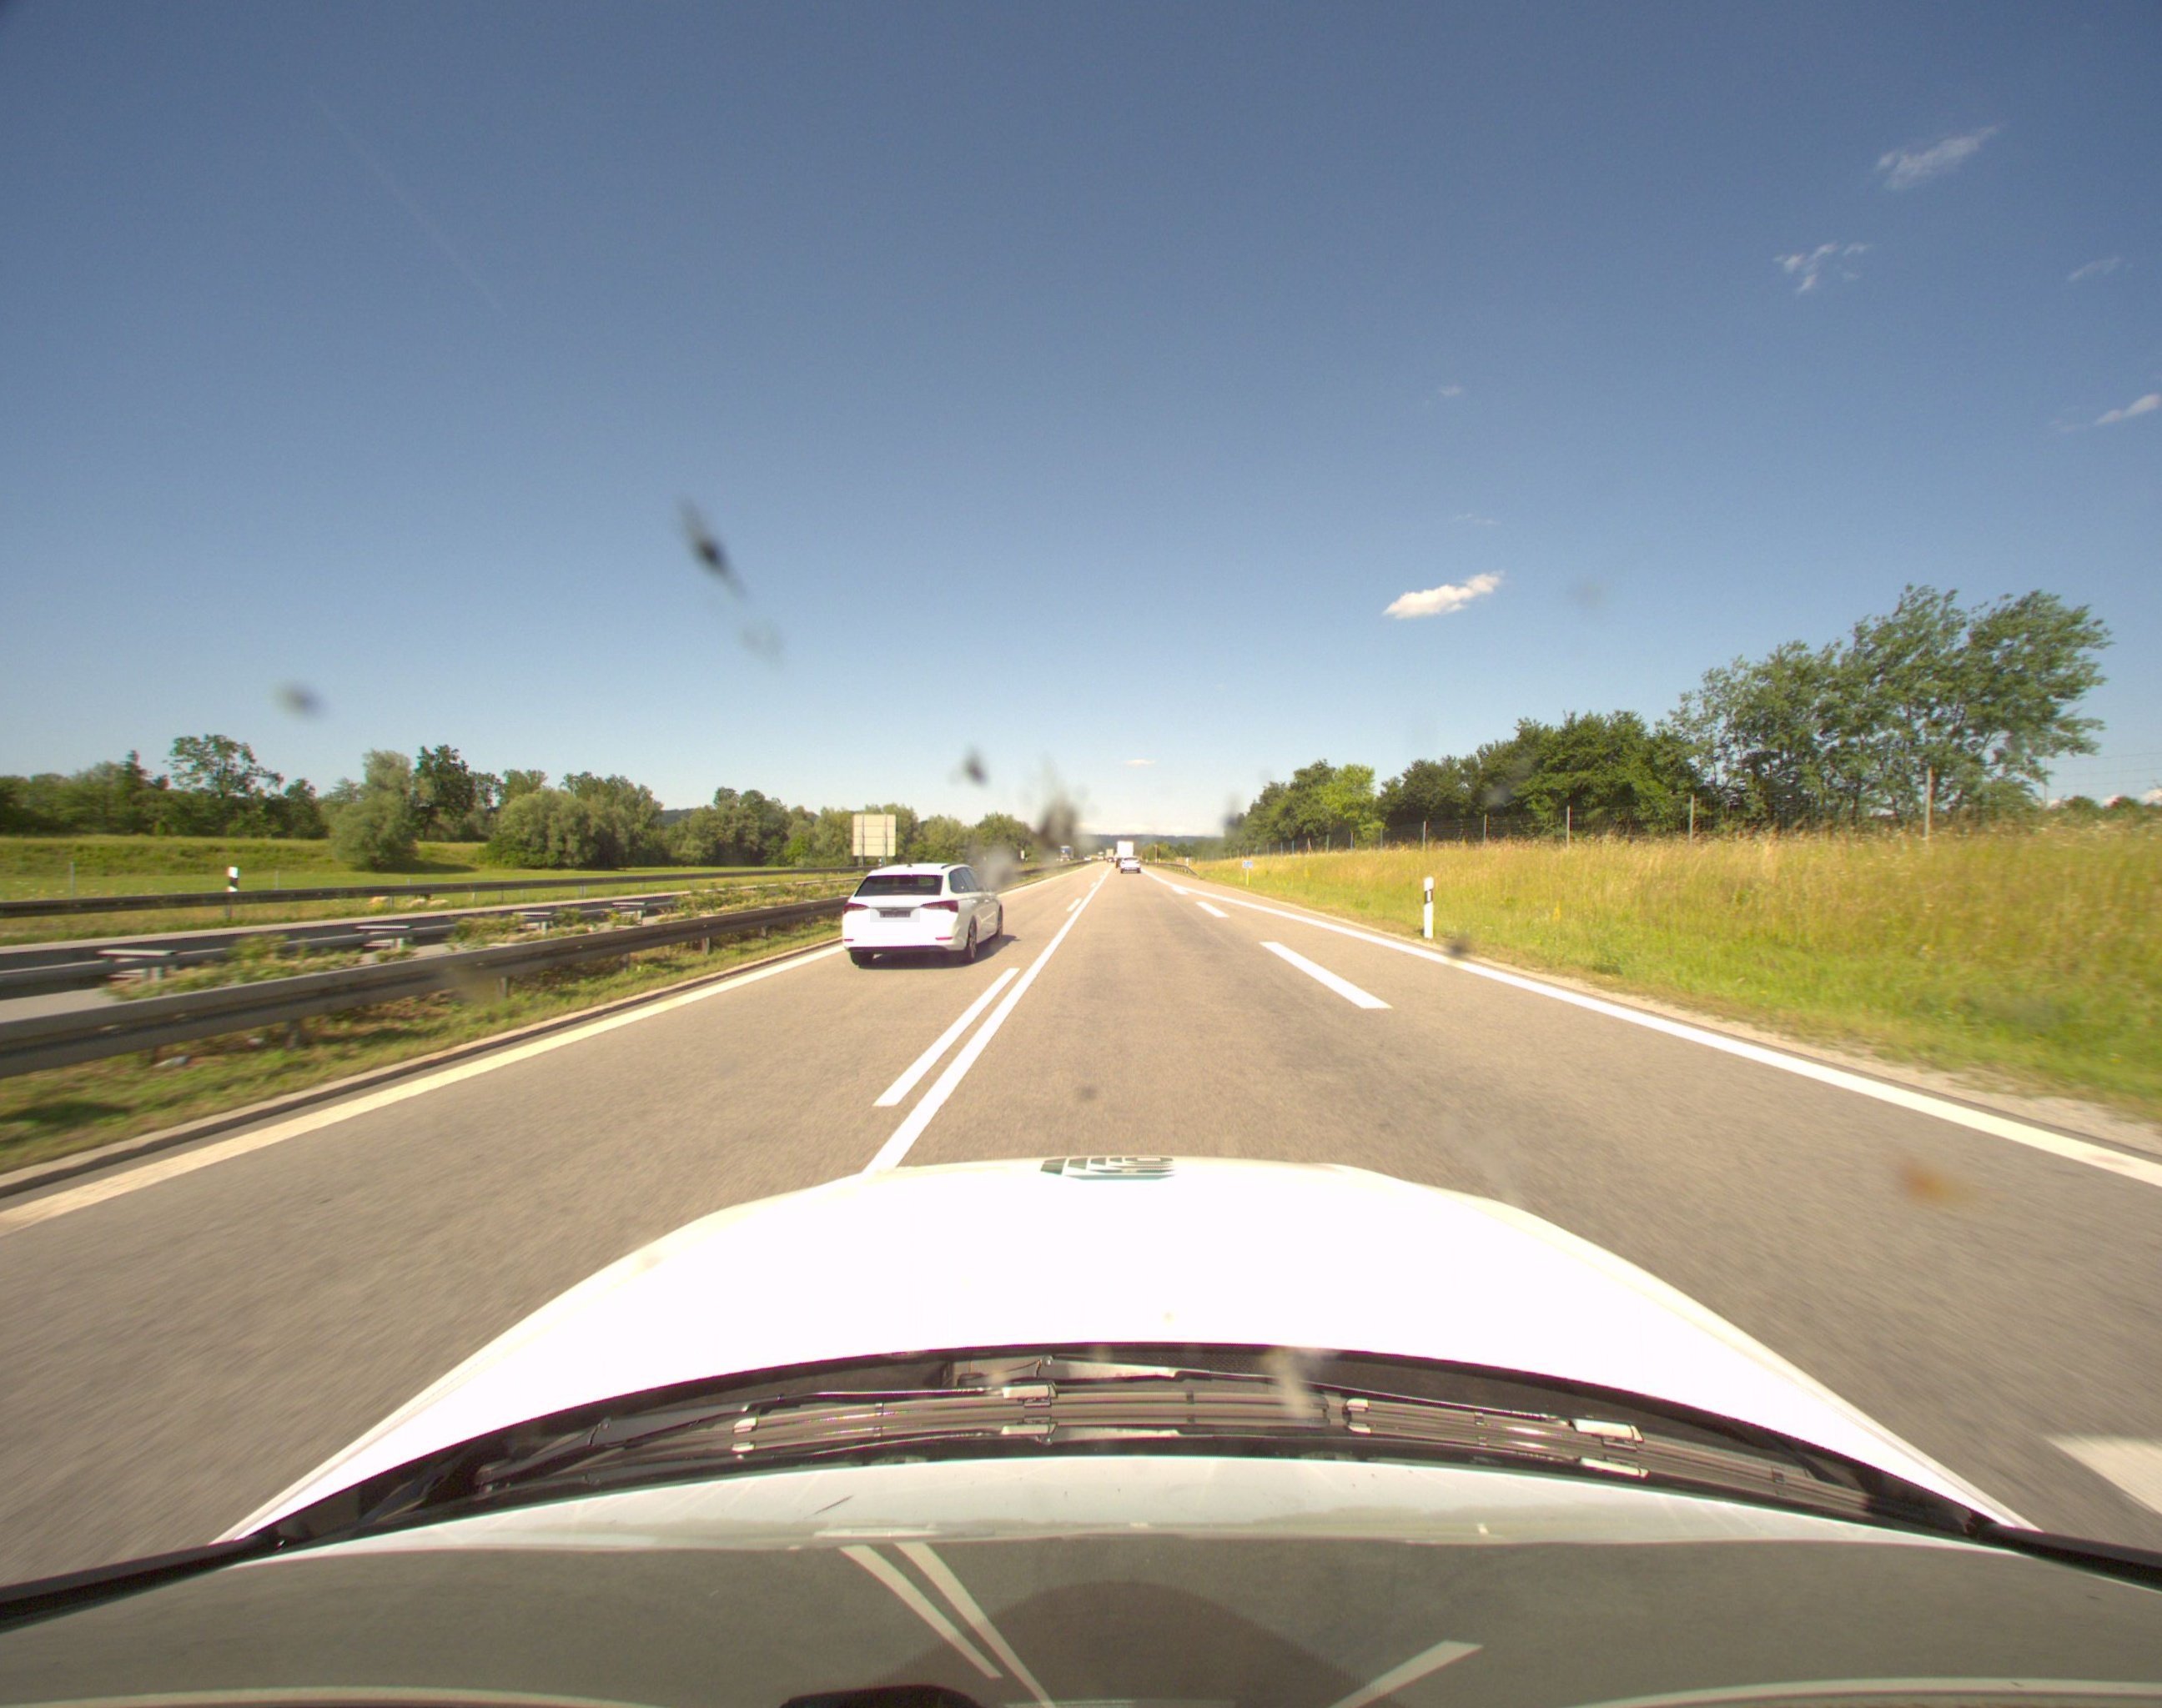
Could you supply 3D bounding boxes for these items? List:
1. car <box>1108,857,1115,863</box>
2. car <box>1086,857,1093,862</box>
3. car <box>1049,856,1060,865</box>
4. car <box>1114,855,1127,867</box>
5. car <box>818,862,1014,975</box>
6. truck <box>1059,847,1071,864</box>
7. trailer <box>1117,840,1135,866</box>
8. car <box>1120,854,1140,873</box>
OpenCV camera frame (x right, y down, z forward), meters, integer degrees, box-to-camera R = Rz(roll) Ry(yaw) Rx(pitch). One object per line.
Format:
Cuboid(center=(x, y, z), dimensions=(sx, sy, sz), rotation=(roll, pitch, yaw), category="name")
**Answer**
Cuboid(center=(8.095, 1.544, 217.464), dimensions=(1.764, 1.421, 4.499), rotation=(2, 0, 3), category="car")
Cuboid(center=(2.531, 1.704, 251.977), dimensions=(1.986, 1.665, 4.635), rotation=(-1, 0, 2), category="car")
Cuboid(center=(-5.383, 1.330, 164.707), dimensions=(1.842, 1.803, 4.874), rotation=(-2, 0, 3), category="car")
Cuboid(center=(5.148, 0.868, 106.651), dimensions=(1.658, 1.454, 4.548), rotation=(2, 0, 3), category="car")
Cuboid(center=(-2.375, 0.867, 13.244), dimensions=(1.832, 1.421, 5.258), rotation=(-1, 0, 3), category="car")
Cuboid(center=(-4.069, 0.500, 213.190), dimensions=(2.729, 4.303, 6.337), rotation=(-1, 0, 2), category="truck")
Cuboid(center=(7.601, -0.148, 135.600), dimensions=(2.806, 3.966, 14.174), rotation=(0, 0, 4), category="trailer")
Cuboid(center=(4.358, 0.837, 73.135), dimensions=(1.678, 1.496, 4.991), rotation=(3, 1, 3), category="car")
